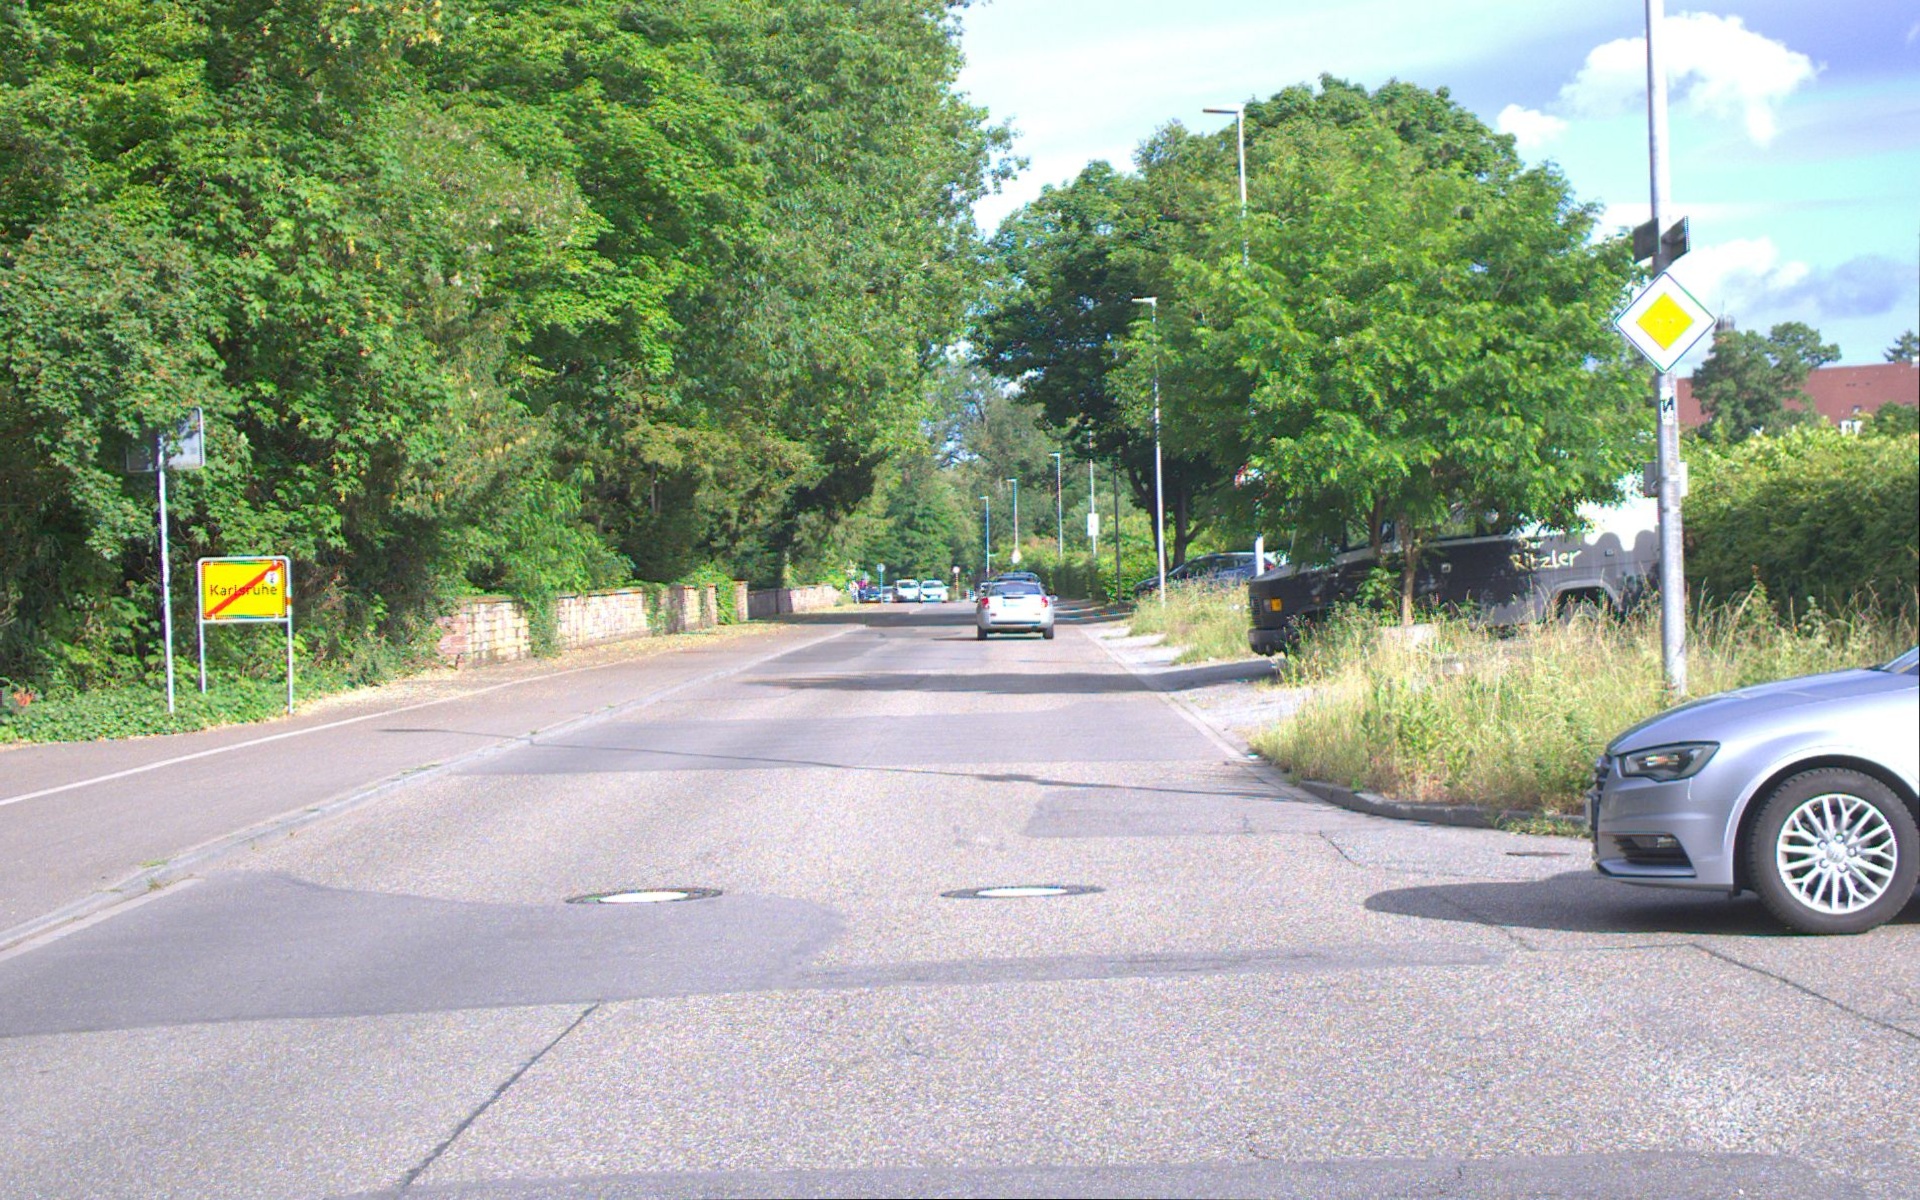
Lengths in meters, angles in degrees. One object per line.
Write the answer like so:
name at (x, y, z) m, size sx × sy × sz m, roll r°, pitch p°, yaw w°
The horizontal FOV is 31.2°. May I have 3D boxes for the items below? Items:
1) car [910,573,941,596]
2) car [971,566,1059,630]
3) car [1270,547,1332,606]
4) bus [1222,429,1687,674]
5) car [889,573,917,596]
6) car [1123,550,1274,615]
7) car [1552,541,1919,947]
car at (-2.178, -1.005, 218.482) m, size 1.886 × 1.367 × 4.055 m, roll -1°, pitch 0°, yaw -1°
car at (1.209, -0.057, 77.237) m, size 1.886 × 1.367 × 4.054 m, roll -1°, pitch 0°, yaw 0°
car at (10.195, -0.718, 102.738) m, size 1.351 × 1.627 × 4.110 m, roll -4°, pitch 1°, yaw 11°
bus at (6.121, -0.618, 43.021) m, size 5.365 × 2.737 × 2.069 m, roll -3°, pitch 1°, yaw -2°
car at (-4.108, -1.126, 248.881) m, size 1.886 × 1.608 × 4.054 m, roll -1°, pitch 0°, yaw 0°
car at (7.234, -0.544, 104.720) m, size 4.403 × 1.641 × 2.000 m, roll -4°, pitch 0°, yaw 2°
car at (4.575, 0.458, 13.317) m, size 4.363 × 1.438 × 1.932 m, roll -2°, pitch 0°, yaw 8°
